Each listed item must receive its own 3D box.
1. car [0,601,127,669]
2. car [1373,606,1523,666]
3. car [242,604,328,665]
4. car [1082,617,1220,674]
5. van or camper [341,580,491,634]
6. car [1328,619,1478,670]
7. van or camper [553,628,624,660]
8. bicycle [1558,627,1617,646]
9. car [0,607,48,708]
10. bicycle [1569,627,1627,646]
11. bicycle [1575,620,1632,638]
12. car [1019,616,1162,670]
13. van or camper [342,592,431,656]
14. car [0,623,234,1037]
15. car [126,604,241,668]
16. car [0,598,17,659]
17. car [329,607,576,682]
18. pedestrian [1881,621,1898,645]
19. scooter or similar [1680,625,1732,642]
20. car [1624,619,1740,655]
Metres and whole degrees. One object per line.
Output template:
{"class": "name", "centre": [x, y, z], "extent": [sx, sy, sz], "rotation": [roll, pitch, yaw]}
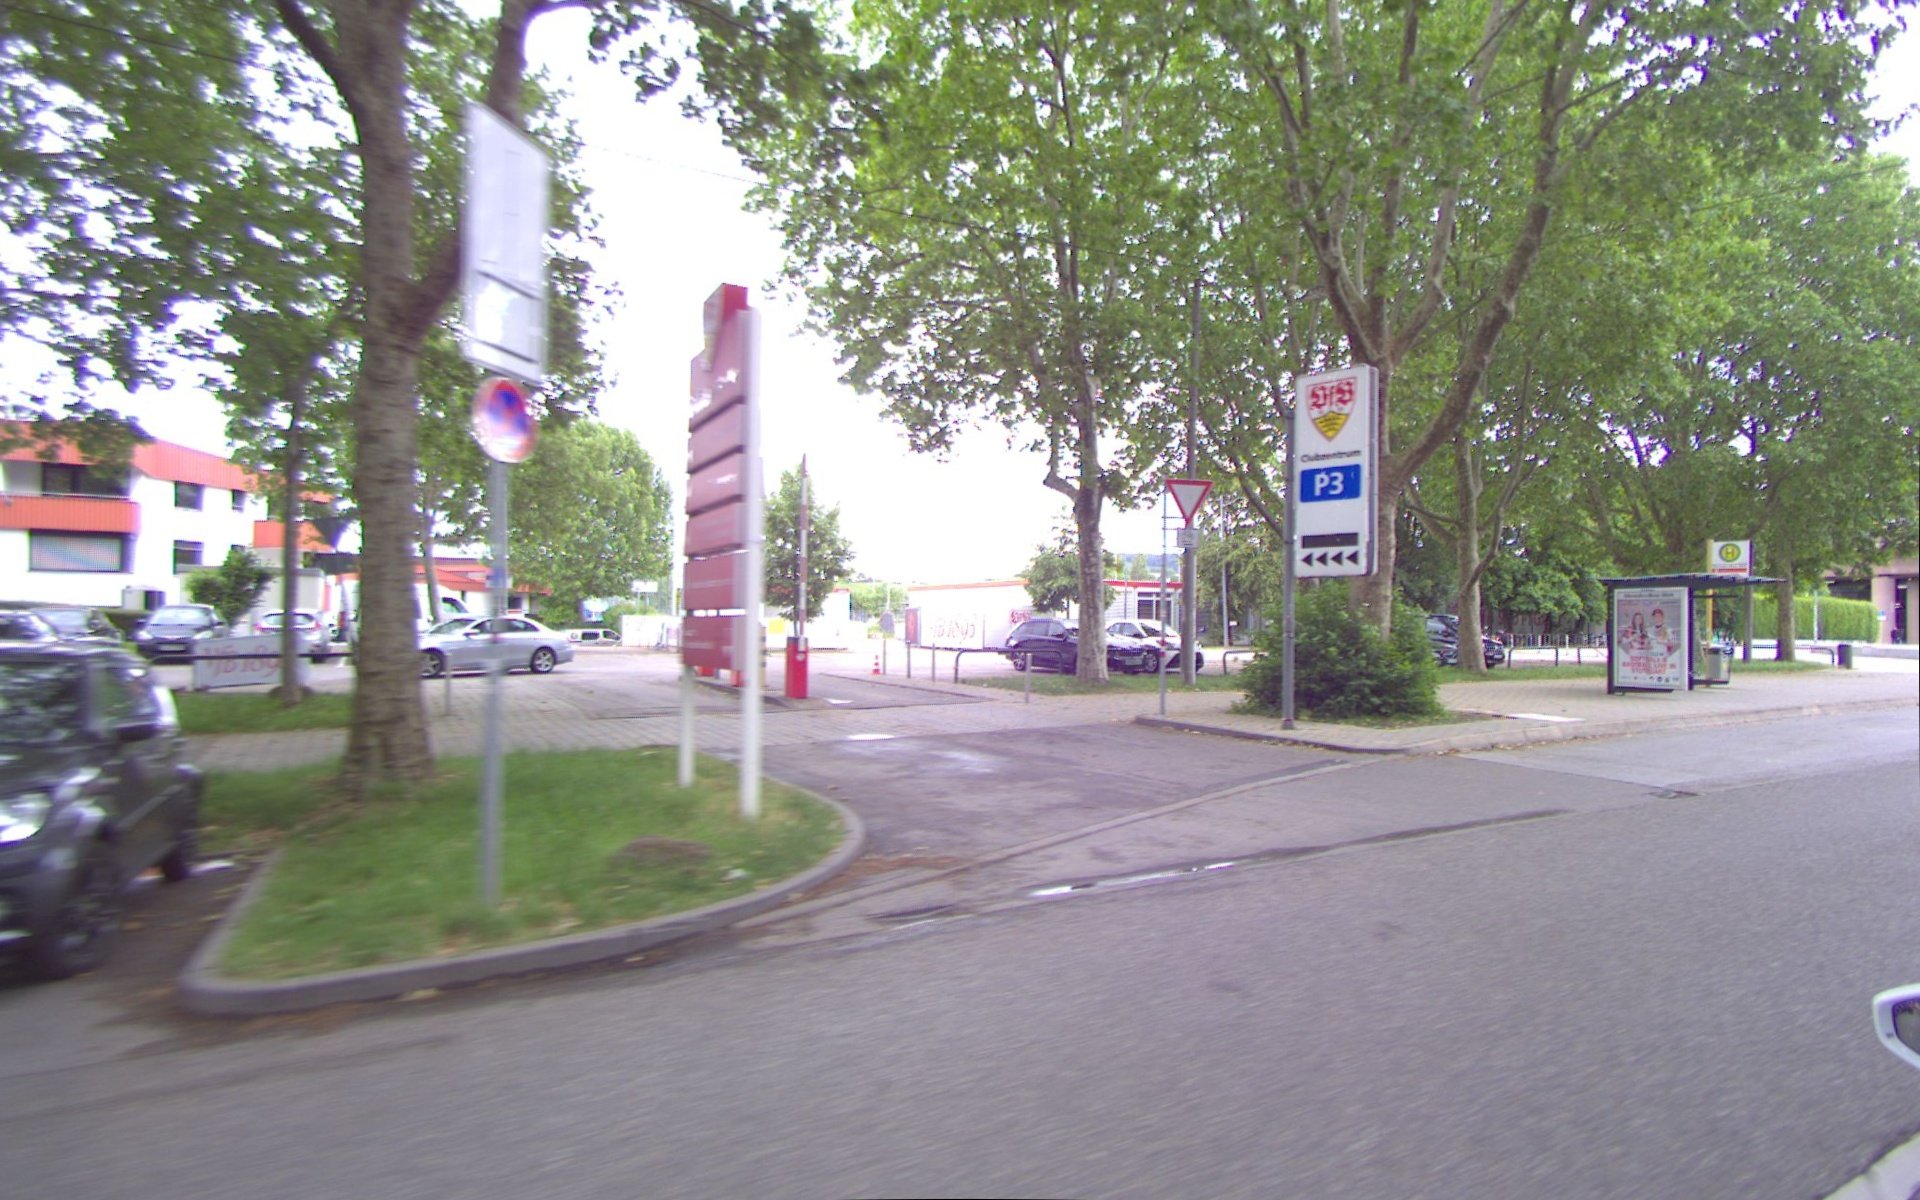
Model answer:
{"class": "car", "centre": [-22.807, 0.831, 25.457], "extent": [1.937, 1.569, 4.298], "rotation": [2, -1, -31]}
{"class": "car", "centre": [18.104, 1.298, 37.478], "extent": [2.234, 2.052, 4.598], "rotation": [1, -1, -28]}
{"class": "car", "centre": [-18.930, 0.935, 28.311], "extent": [1.770, 1.569, 4.195], "rotation": [2, -1, -31]}
{"class": "car", "centre": [5.643, 1.314, 30.159], "extent": [1.978, 1.543, 3.968], "rotation": [2, -1, -30]}
{"class": "van or camper", "centre": [-22.120, 0.316, 40.938], "extent": [5.244, 2.040, 1.983], "rotation": [2, -1, -32]}
{"class": "car", "centre": [15.676, 1.546, 35.817], "extent": [2.082, 1.588, 4.608], "rotation": [2, -1, -28]}
{"class": "van or camper", "centre": [-24.801, 2.914, 67.040], "extent": [4.133, 2.040, 1.984], "rotation": [2, -1, -30]}
{"class": "bicycle", "centre": [40.576, 2.349, 64.981], "extent": [0.768, 1.112, 3.149], "rotation": [2, -1, -45]}
{"class": "car", "centre": [-16.330, 0.893, 15.733], "extent": [2.179, 1.569, 4.298], "rotation": [2, -1, -31]}
{"class": "bicycle", "centre": [42.527, 2.420, 66.994], "extent": [0.768, 1.112, 3.149], "rotation": [2, -1, -45]}
{"class": "bicycle", "centre": [43.529, 1.977, 67.931], "extent": [0.768, 1.112, 3.149], "rotation": [2, -1, -45]}
{"class": "car", "centre": [3.590, 1.176, 28.314], "extent": [1.979, 1.341, 3.967], "rotation": [2, -1, -31]}
{"class": "van or camper", "centre": [-17.092, 0.690, 29.899], "extent": [2.108, 1.732, 4.298], "rotation": [2, -1, -31]}
{"class": "car", "centre": [-5.340, 0.942, 5.402], "extent": [1.783, 1.561, 3.977], "rotation": [1, -1, -29]}
{"class": "car", "centre": [-21.005, 0.930, 27.341], "extent": [1.937, 1.569, 4.298], "rotation": [2, -1, -31]}
{"class": "car", "centre": [-24.803, 0.702, 24.327], "extent": [1.937, 1.569, 4.298], "rotation": [2, -1, -31]}
{"class": "car", "centre": [-12.015, 1.016, 24.163], "extent": [2.063, 1.572, 4.967], "rotation": [1, -1, 32]}
{"class": "pedestrian", "centre": [81.079, 2.868, 87.620], "extent": [0.594, 2.040, 1.033], "rotation": [1, -1, -41]}
{"class": "scooter or similar", "centre": [57.488, 2.573, 77.439], "extent": [3.148, 1.266, 0.768], "rotation": [0, -1, 44]}
{"class": "car", "centre": [33.518, 1.697, 46.679], "extent": [2.213, 1.626, 3.955], "rotation": [2, -2, -39]}
